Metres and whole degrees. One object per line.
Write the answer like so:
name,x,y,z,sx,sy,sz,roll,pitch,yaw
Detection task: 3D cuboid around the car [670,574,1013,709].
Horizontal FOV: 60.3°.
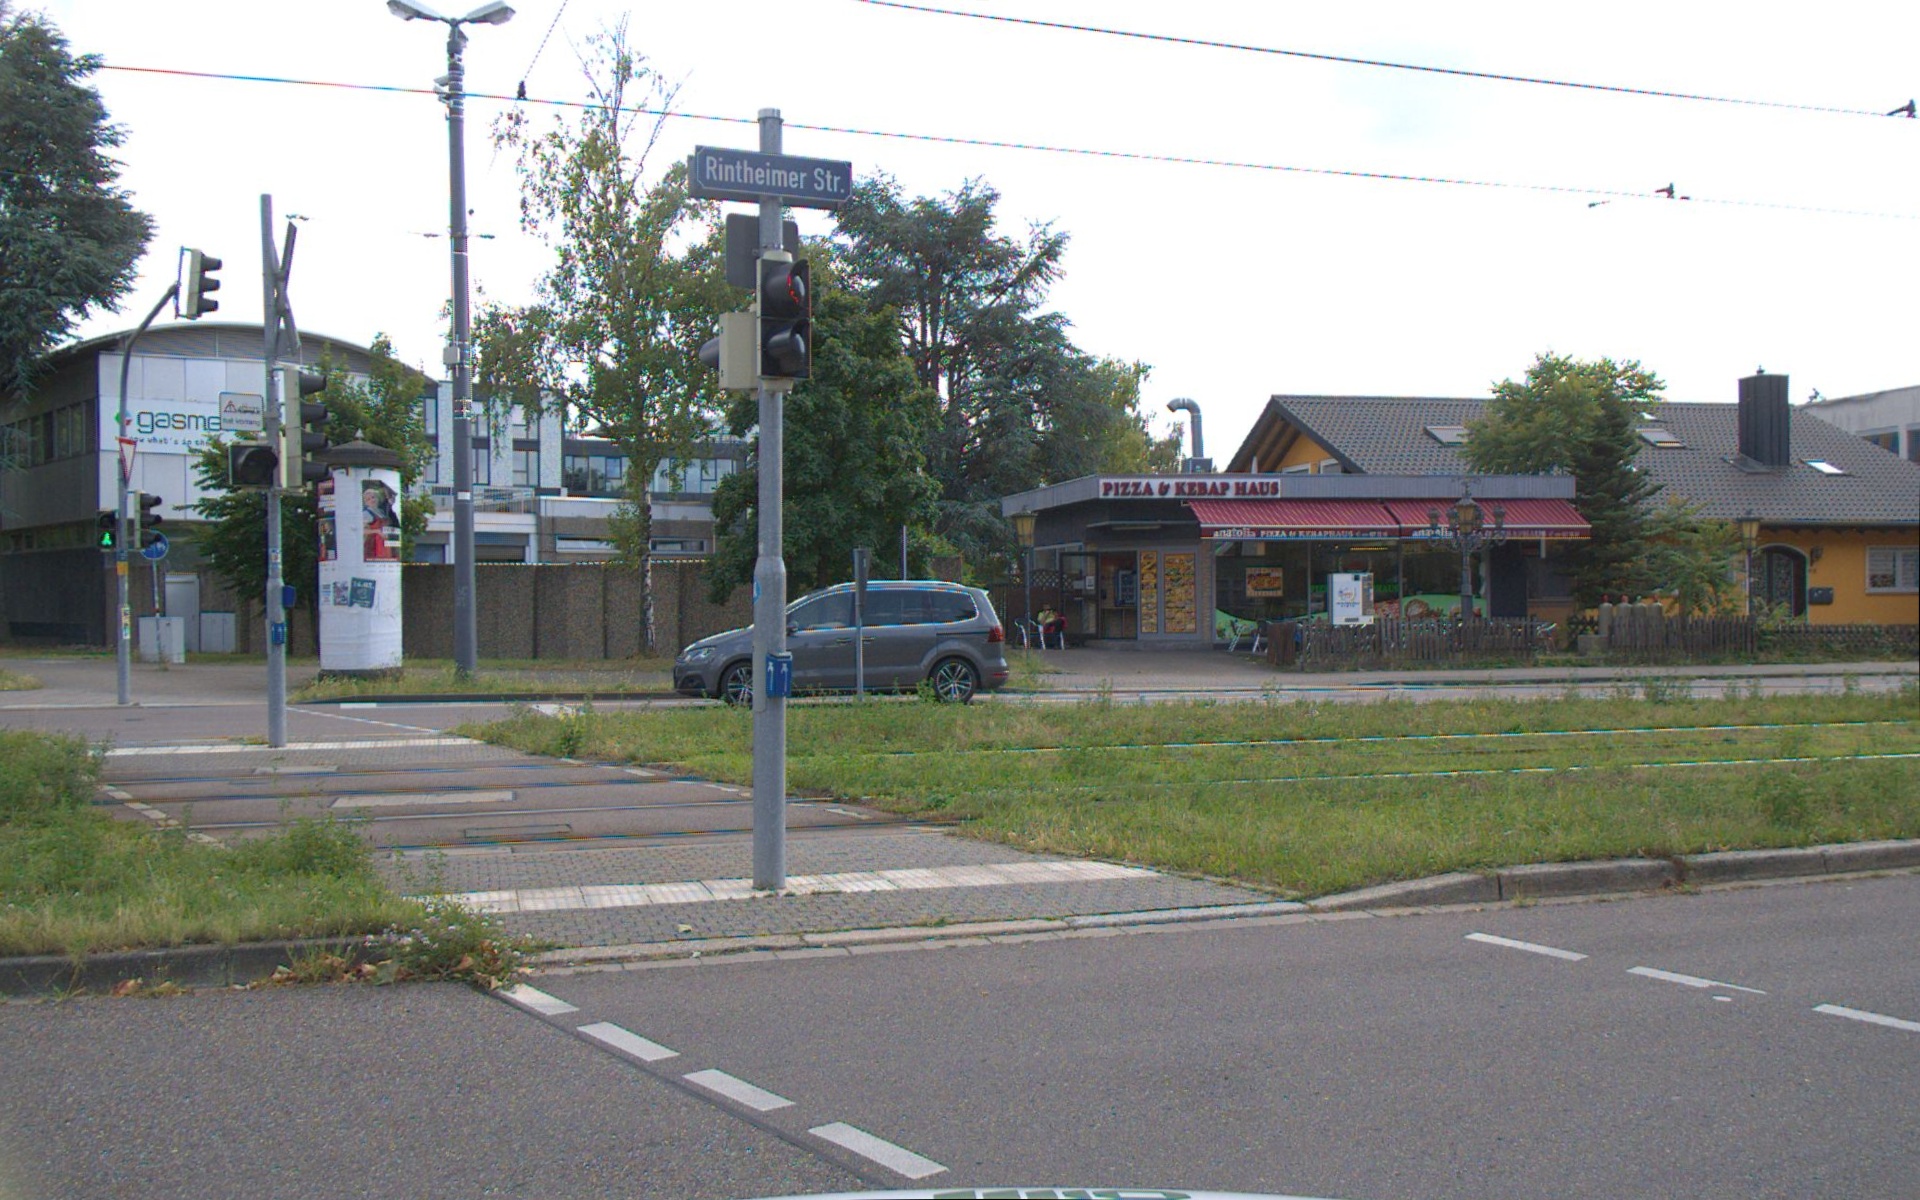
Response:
car,-1.731,0.549,23.438,4.641,1.752,1.994,-1,0,-12

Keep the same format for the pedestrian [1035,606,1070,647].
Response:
pedestrian,2.190,0.621,39.346,0.711,0.945,0.776,0,2,-7
